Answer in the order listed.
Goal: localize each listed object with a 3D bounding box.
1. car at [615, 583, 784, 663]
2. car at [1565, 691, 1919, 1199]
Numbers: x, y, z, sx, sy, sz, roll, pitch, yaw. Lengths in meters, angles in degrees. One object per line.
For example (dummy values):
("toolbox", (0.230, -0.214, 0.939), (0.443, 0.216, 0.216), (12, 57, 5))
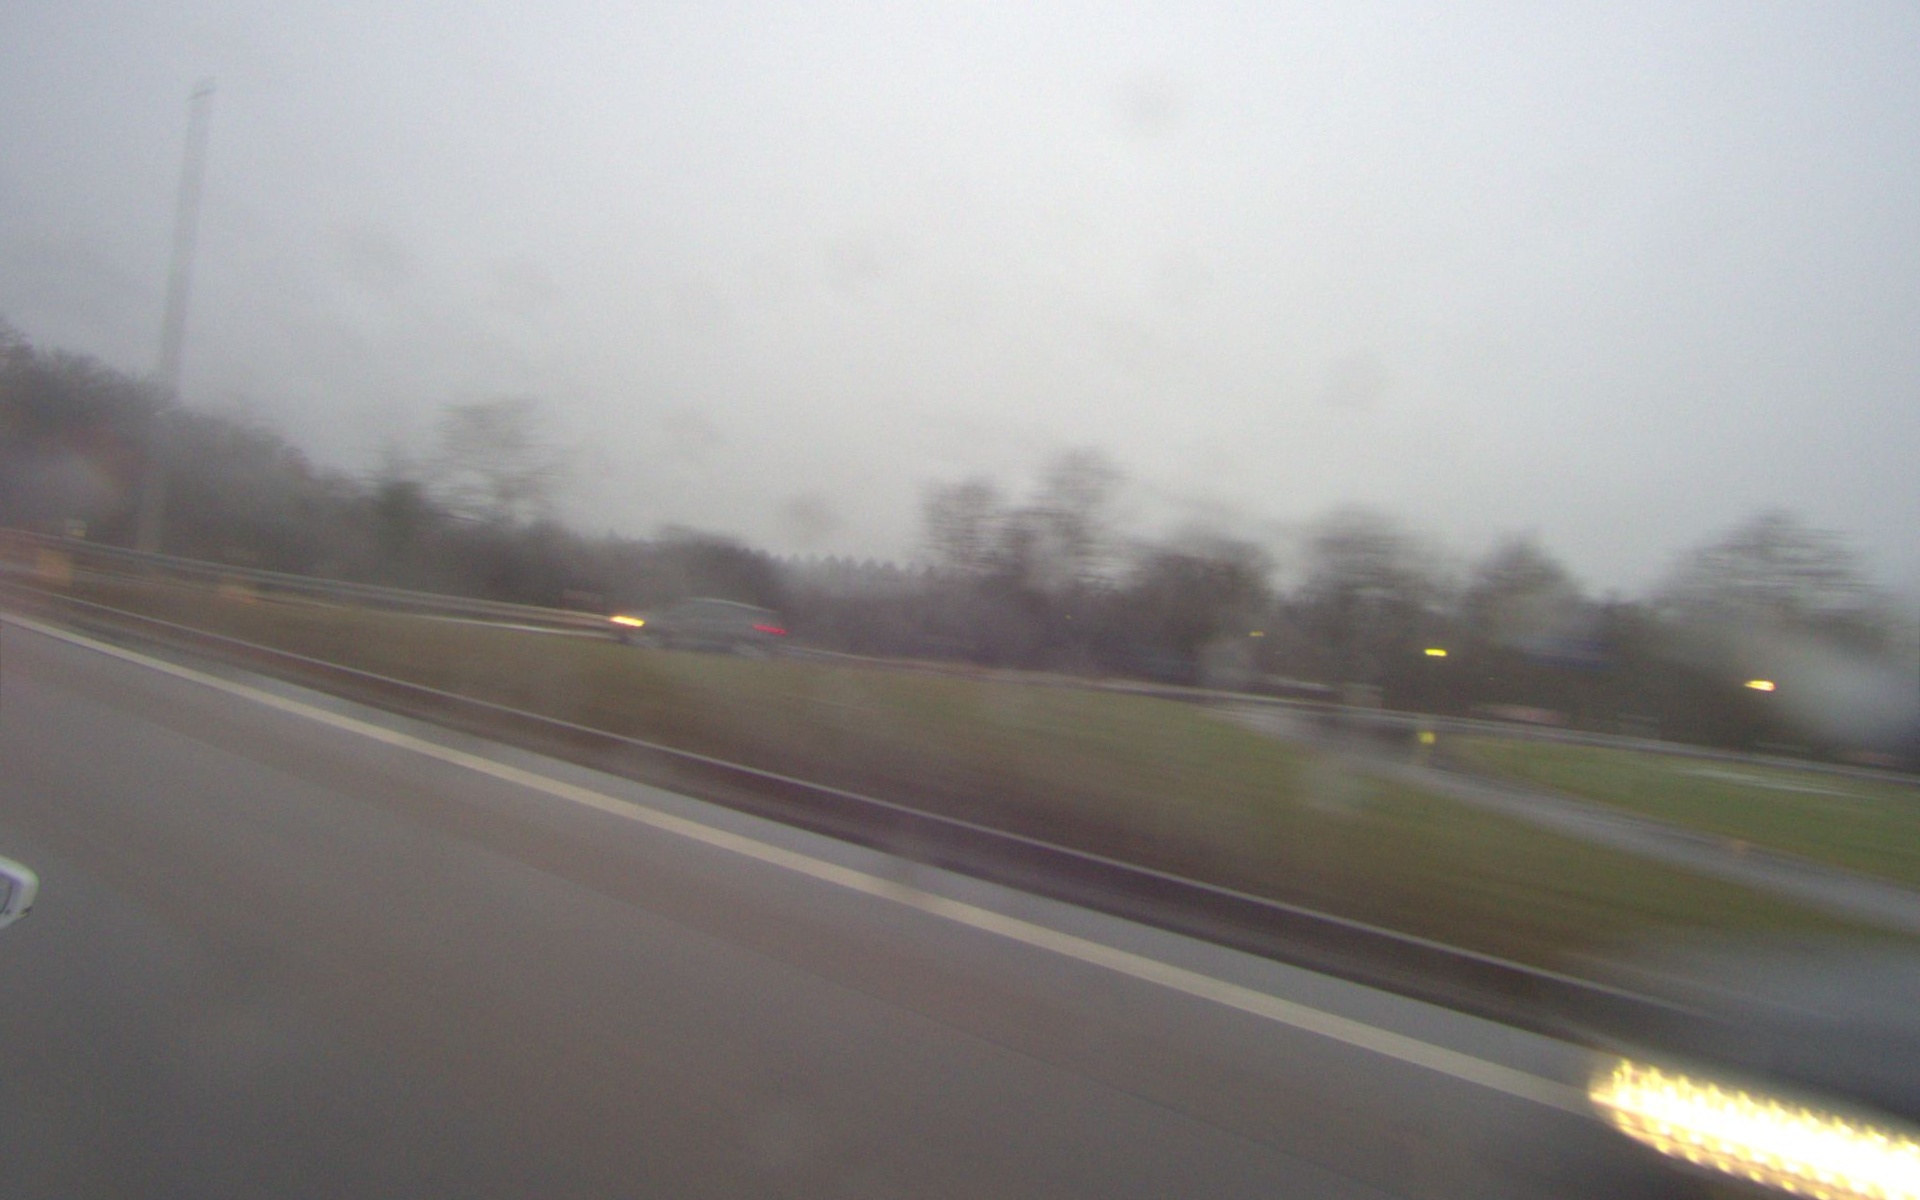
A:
("car", (-6.444, 0.560, 24.797), (3.767, 1.451, 1.786), (8, -1, -20))
("car", (3.130, 1.170, 1.413), (3.745, 1.527, 1.681), (7, -1, 31))
